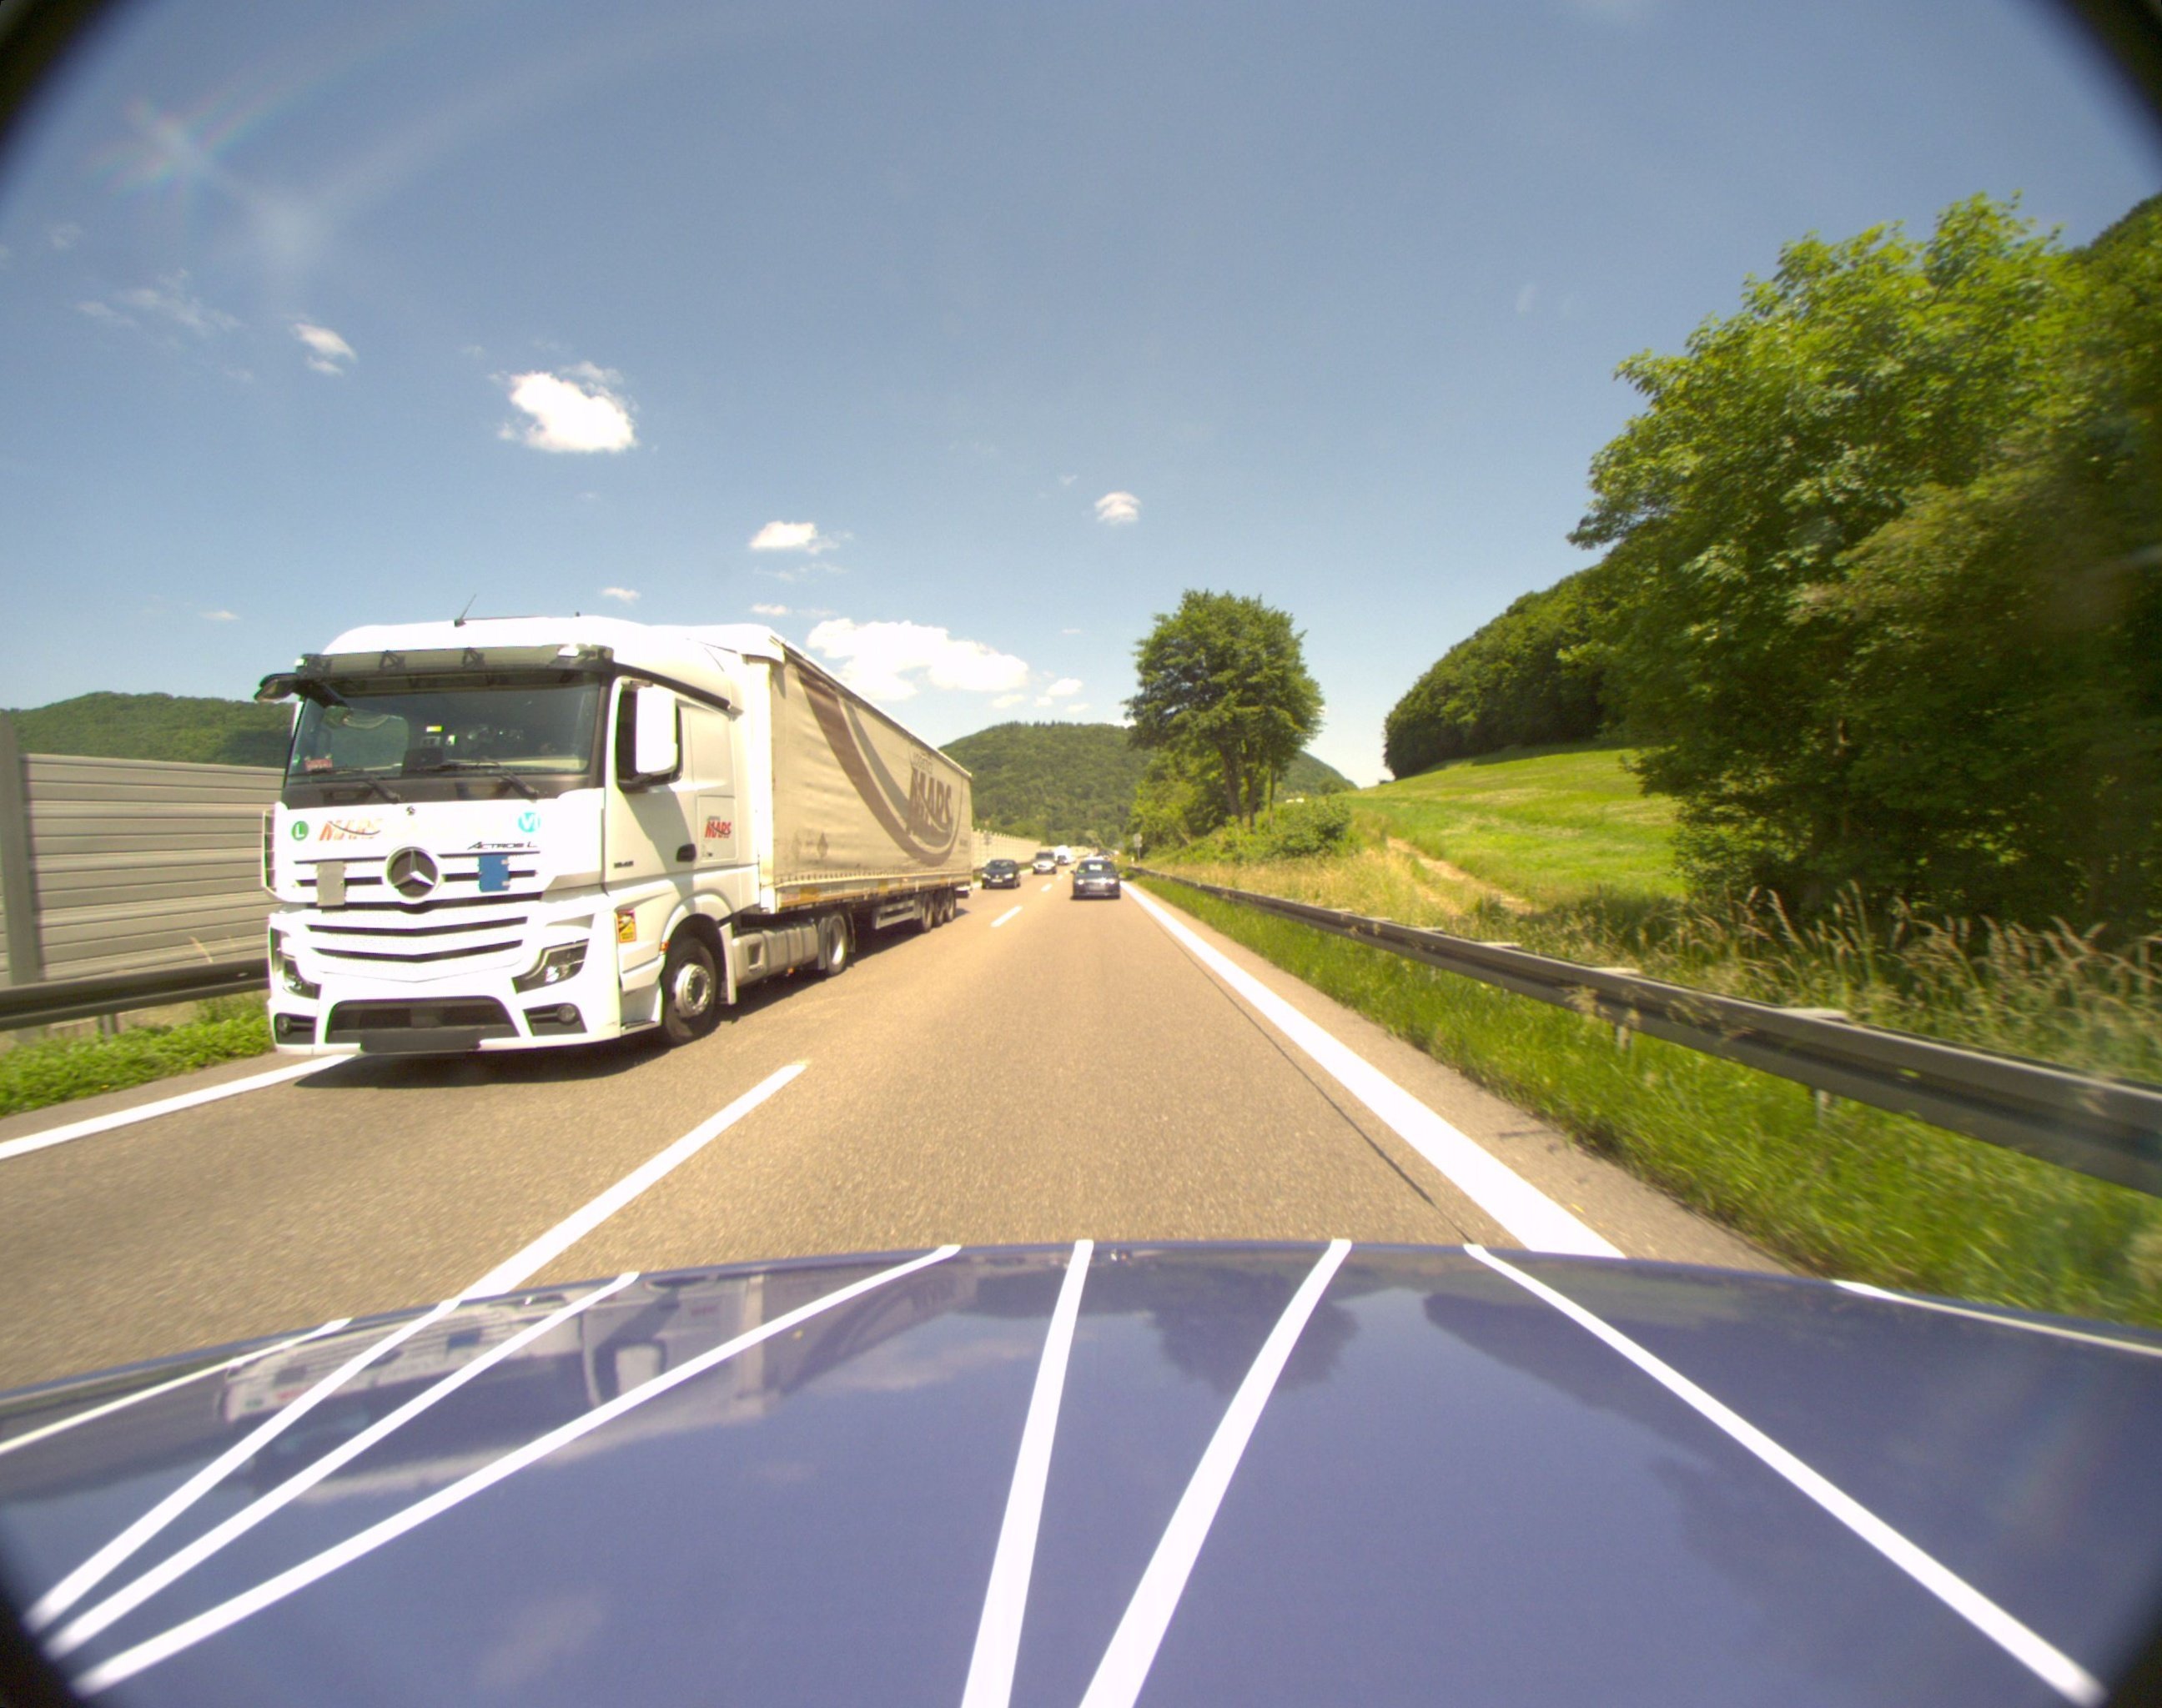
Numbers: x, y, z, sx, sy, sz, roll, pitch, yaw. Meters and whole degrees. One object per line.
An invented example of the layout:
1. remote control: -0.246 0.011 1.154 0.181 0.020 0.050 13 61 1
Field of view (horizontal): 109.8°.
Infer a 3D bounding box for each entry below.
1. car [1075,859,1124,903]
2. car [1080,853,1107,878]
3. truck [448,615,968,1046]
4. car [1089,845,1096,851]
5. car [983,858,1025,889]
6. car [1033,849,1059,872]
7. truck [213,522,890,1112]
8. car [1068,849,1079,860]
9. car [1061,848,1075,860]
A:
1. car: 0.660 0.931 27.643 1.662 1.436 3.475 0 1 1
2. car: 0.851 0.750 51.006 1.715 1.541 4.000 -1 0 1
3. truck: -4.510 -0.277 13.392 2.861 4.124 12.046 -1 1 1
4. car: 3.436 -1.854 226.865 1.998 1.722 3.999 2 1 1
5. car: -3.815 0.948 37.977 1.662 1.405 3.475 0 1 1
6. car: -2.986 0.604 65.302 2.043 1.854 4.000 -1 -1 0
7. truck: -4.481 -0.258 8.612 2.764 4.015 6.823 0 0 1
8. car: -1.403 0.146 141.415 1.998 2.002 4.000 -2 0 1
9. car: -2.071 -0.014 118.611 1.998 1.892 4.001 0 0 2
